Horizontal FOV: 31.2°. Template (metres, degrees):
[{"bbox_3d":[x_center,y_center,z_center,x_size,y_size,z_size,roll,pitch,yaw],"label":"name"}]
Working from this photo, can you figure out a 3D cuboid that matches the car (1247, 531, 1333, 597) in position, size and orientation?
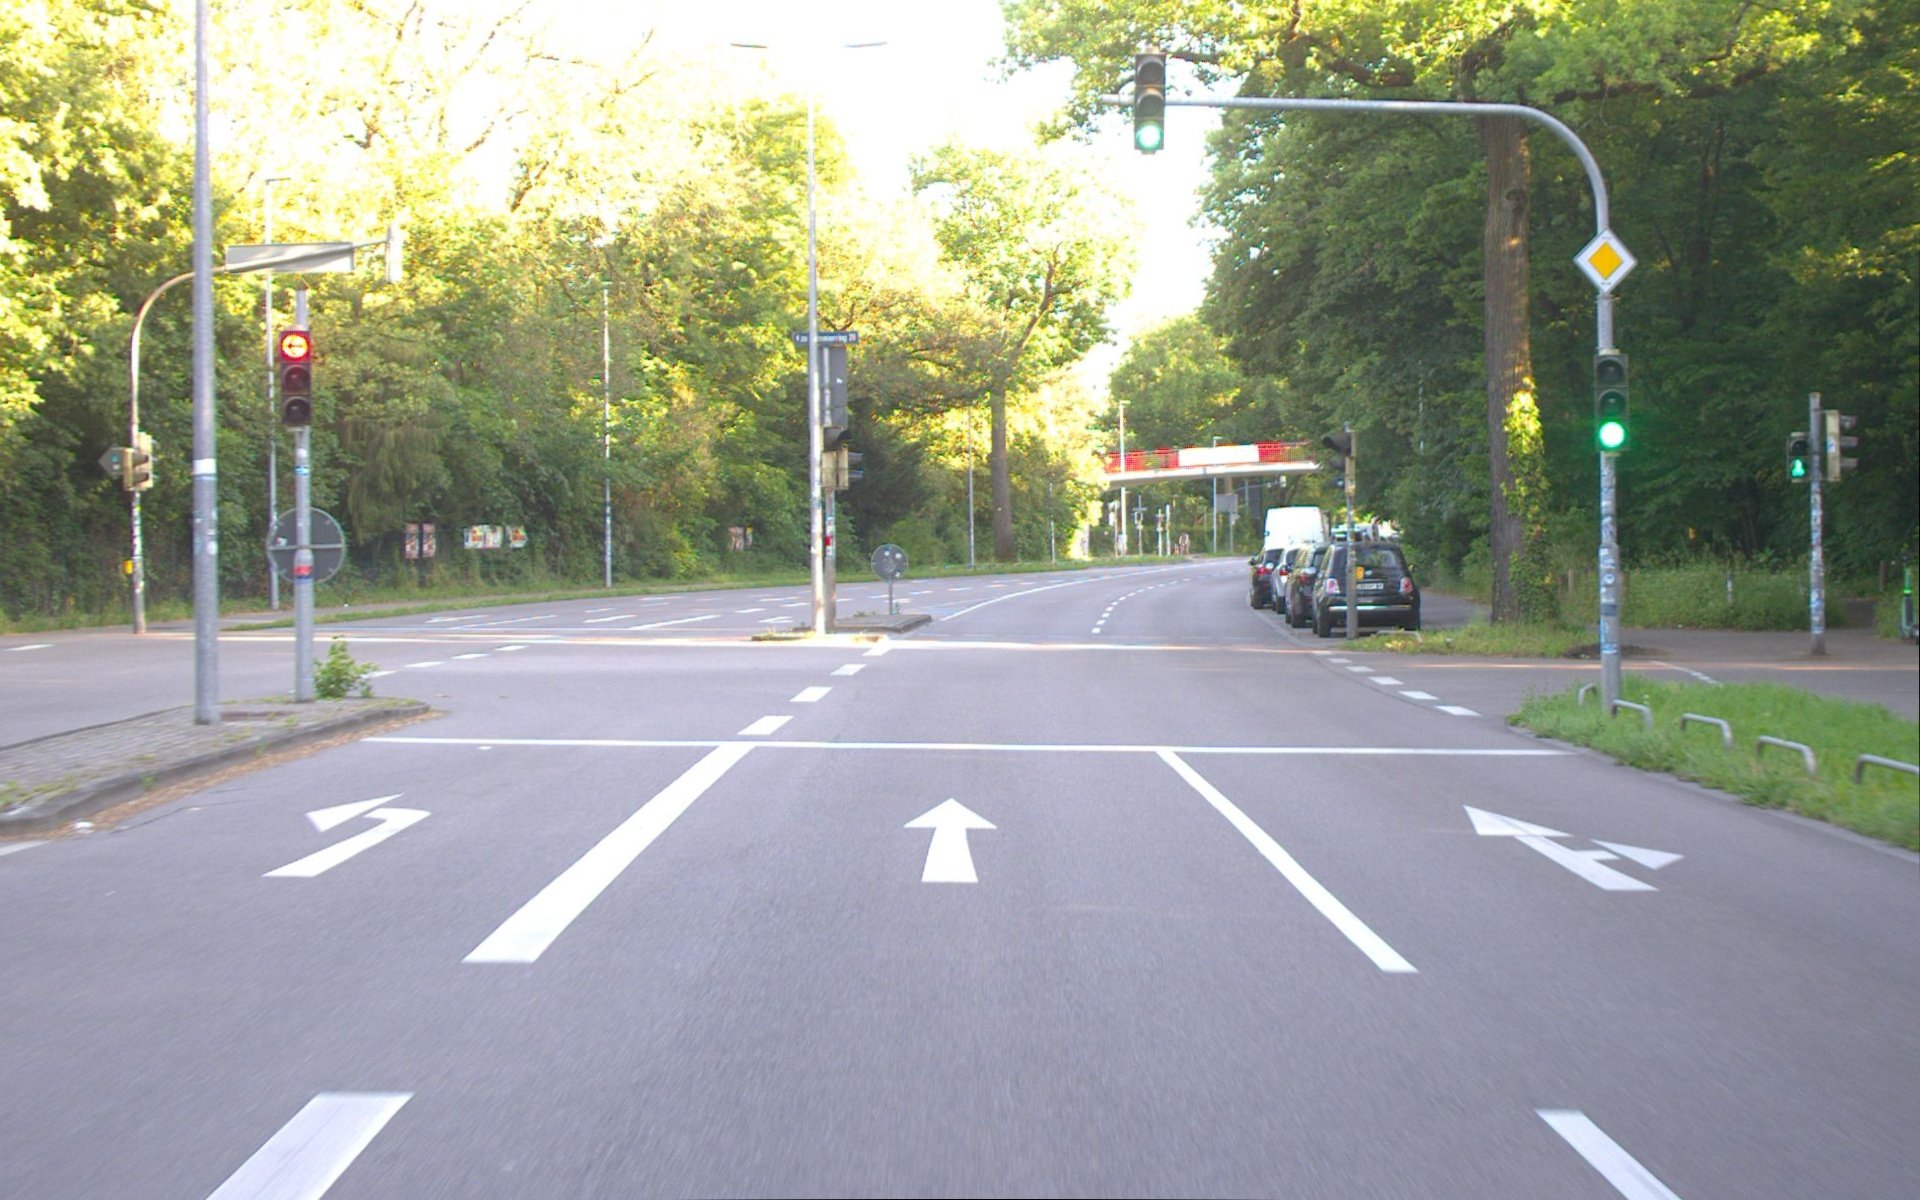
[{"bbox_3d":[7.444,-0.821,77.744,1.718,1.407,4.487,-1,1,3],"label":"car"}]

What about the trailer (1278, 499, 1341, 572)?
[{"bbox_3d":[12.014,-2.190,118.045,1.904,2.415,5.125,-1,1,8],"label":"trailer"}]

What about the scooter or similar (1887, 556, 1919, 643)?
[{"bbox_3d":[12.637,-0.016,45.850,0.378,1.140,1.223,0,1,8],"label":"scooter or similar"}]

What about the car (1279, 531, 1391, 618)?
[{"bbox_3d":[6.735,-0.477,62.130,1.718,1.464,4.987,-1,1,3],"label":"car"}]

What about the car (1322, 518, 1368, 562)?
[{"bbox_3d":[16.411,-2.560,146.314,1.759,1.798,4.736,-1,1,8],"label":"car"}]

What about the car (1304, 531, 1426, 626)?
[{"bbox_3d":[6.530,-0.360,55.704,1.718,1.464,3.756,-1,1,3],"label":"car"}]

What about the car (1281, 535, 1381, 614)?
[{"bbox_3d":[7.272,-0.518,67.680,1.718,1.464,4.202,-1,1,3],"label":"car"}]

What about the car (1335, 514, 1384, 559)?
[{"bbox_3d":[18.459,-2.917,158.792,1.869,1.974,5.472,-1,1,10],"label":"car"}]

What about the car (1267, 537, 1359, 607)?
[{"bbox_3d":[7.460,-0.608,72.880,1.718,1.407,4.124,-1,1,3],"label":"car"}]

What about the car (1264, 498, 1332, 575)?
[{"bbox_3d":[10.986,-2.046,111.485,1.904,2.415,5.574,-1,1,8],"label":"car"}]
